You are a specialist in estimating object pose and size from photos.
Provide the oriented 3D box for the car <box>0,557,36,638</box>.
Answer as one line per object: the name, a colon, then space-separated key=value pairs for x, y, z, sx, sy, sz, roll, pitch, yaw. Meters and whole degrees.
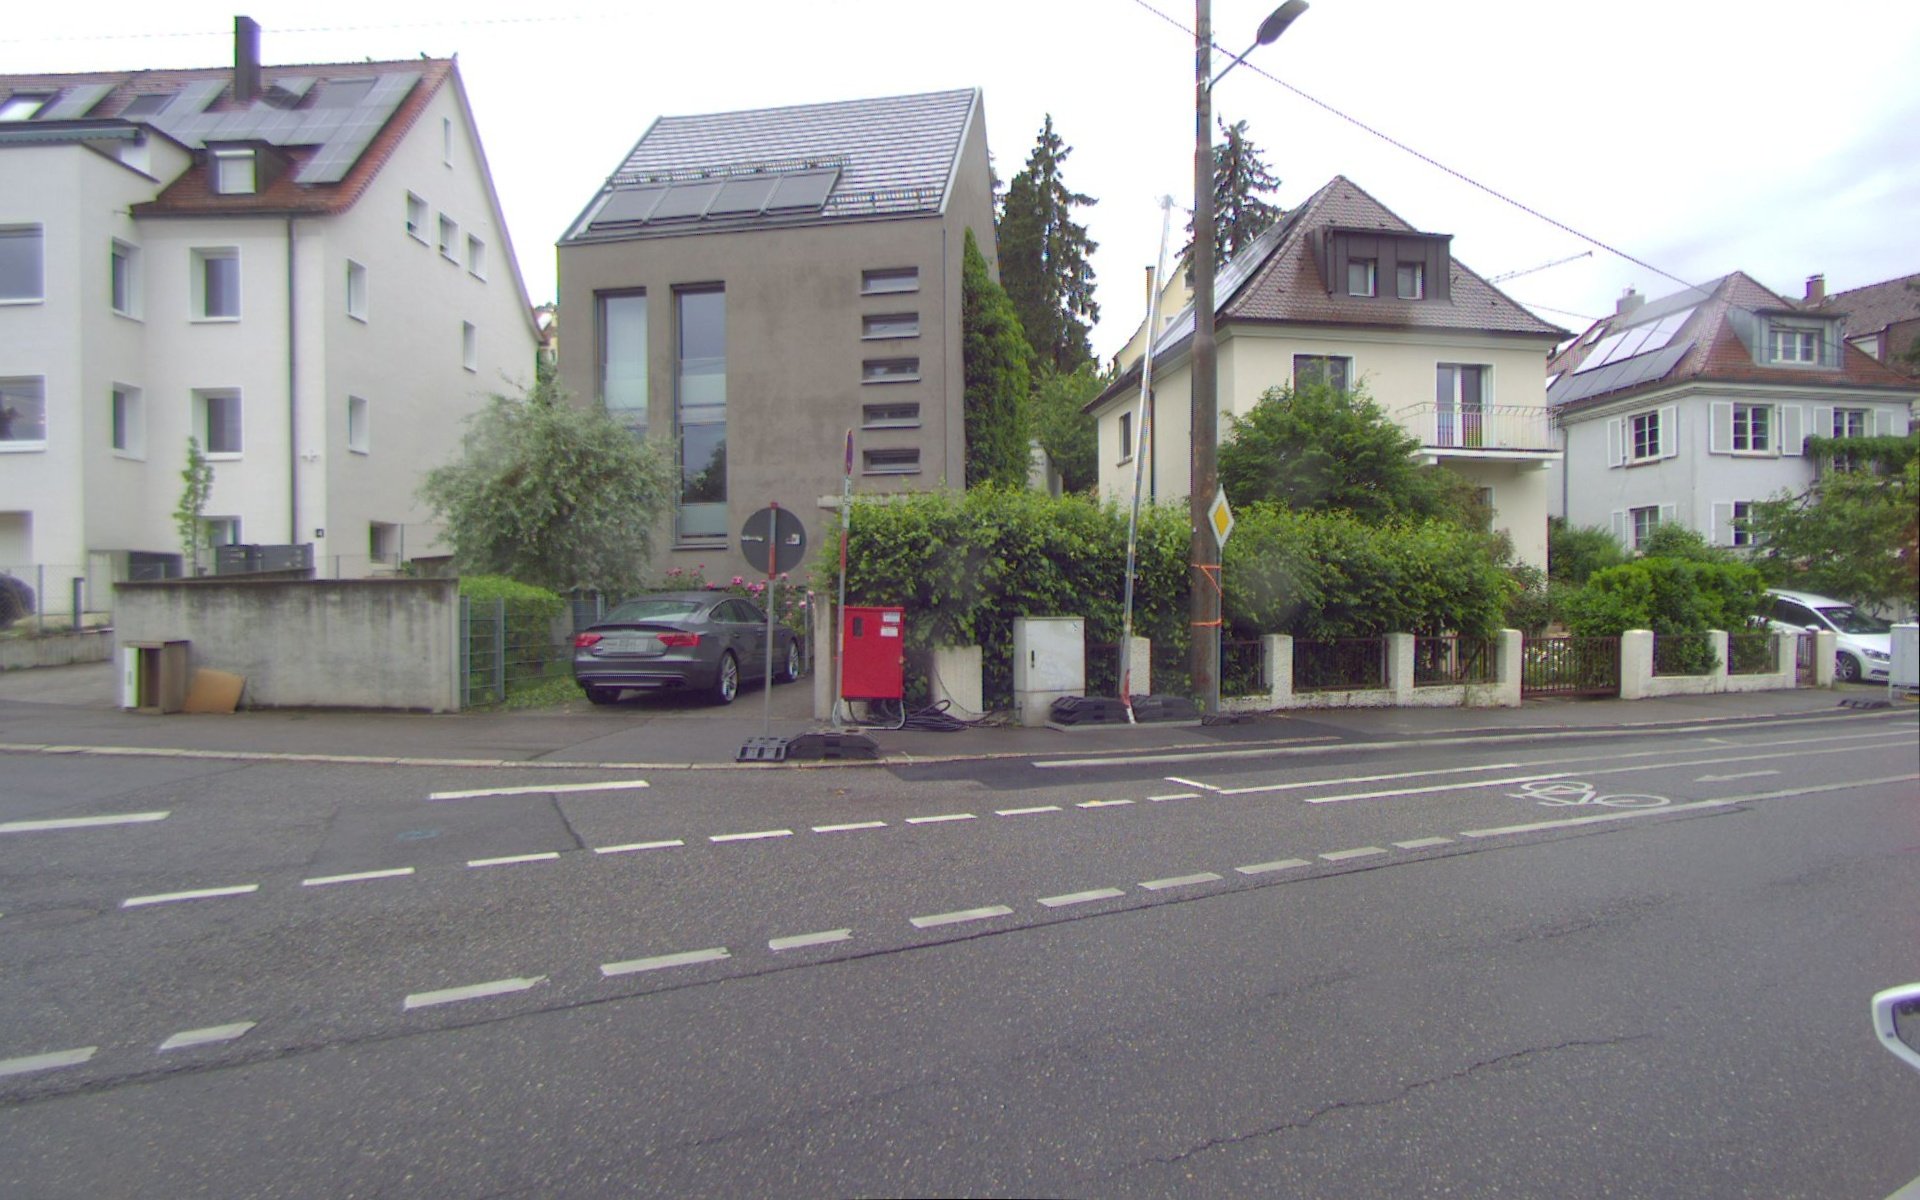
car: x=-16.745 y=0.041 z=15.173 sx=1.576 sy=1.298 sz=4.008 roll=2 pitch=4 yaw=6

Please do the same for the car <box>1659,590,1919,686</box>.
car: x=19.583 y=0.810 z=23.916 sx=1.870 sy=2.033 sz=4.628 roll=1 pitch=0 yaw=-18

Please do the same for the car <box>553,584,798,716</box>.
car: x=-3.622 y=0.556 z=13.580 sx=1.740 sy=1.506 sz=4.002 roll=0 pitch=1 yaw=7
